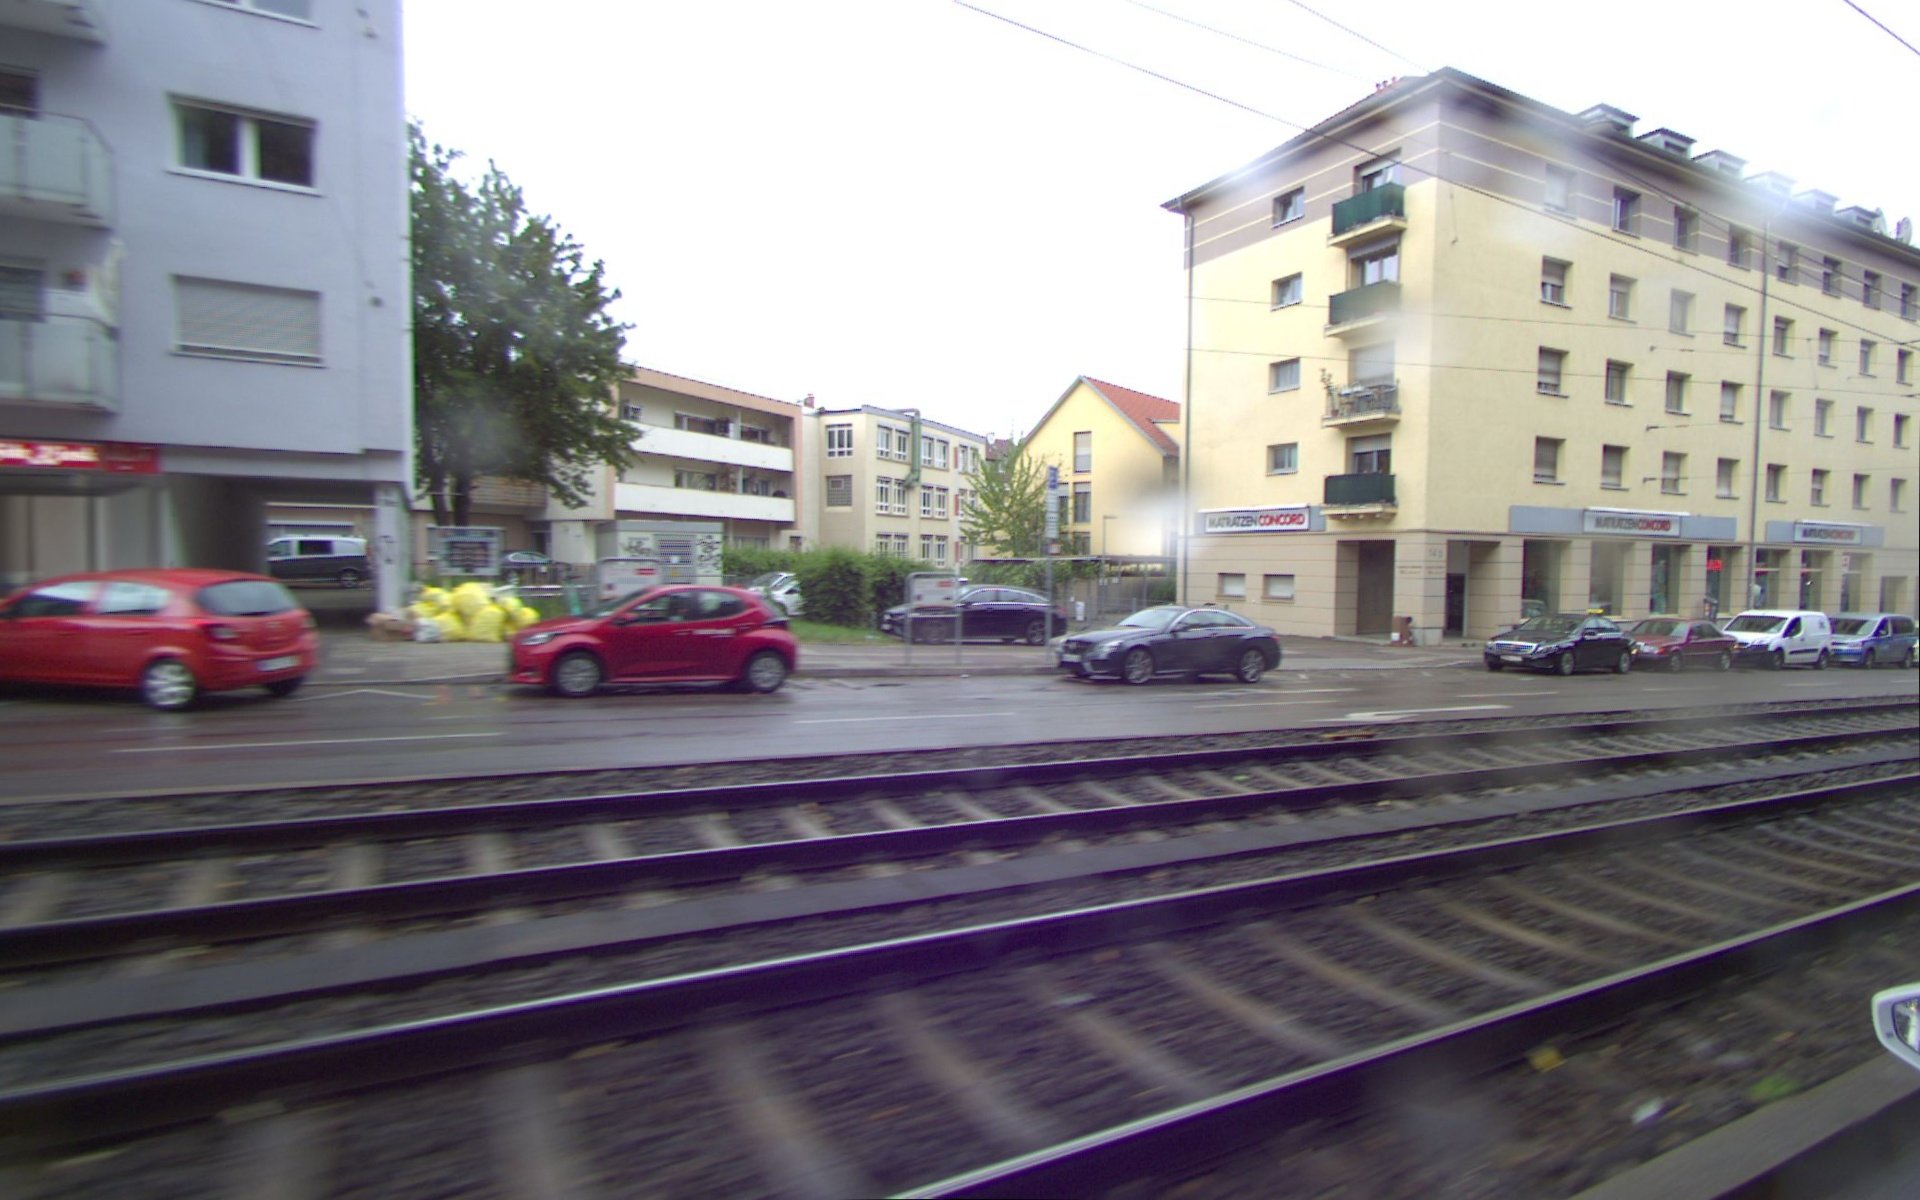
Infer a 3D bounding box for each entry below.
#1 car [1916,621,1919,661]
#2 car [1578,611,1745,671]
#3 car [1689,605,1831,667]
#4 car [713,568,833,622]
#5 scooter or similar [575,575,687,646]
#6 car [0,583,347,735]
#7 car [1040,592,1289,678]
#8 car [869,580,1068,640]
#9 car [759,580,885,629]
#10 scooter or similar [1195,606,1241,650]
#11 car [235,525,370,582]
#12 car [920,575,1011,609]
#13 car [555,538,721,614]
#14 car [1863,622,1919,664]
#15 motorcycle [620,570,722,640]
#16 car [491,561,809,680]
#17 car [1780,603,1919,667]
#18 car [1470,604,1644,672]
[{"bbox_3d":[39.015,1.648,38.726,4.527,1.519,1.805,2,2,-29],"label":"car"},{"bbox_3d":[19.556,1.144,27.966,4.773,1.451,1.843,2,2,-29],"label":"car"},{"bbox_3d":[24.685,1.106,30.971,4.405,1.740,1.859,2,0,-29],"label":"car"},{"bbox_3d":[-6.620,-0.167,35.584,3.850,1.654,1.663,3,1,-24],"label":"car"},{"bbox_3d":[-6.043,0.188,18.516,1.860,1.216,0.623,2,3,-9],"label":"scooter or similar"},{"bbox_3d":[-9.615,0.610,11.681,3.902,1.453,1.786,3,1,5],"label":"car"},{"bbox_3d":[3.844,0.651,18.659,4.569,1.414,1.671,2,0,-31],"label":"car"},{"bbox_3d":[0.204,0.249,24.291,4.413,1.321,1.867,1,1,-23],"label":"car"},{"bbox_3d":[-4.657,0.160,33.805,3.850,1.419,1.663,3,1,-24],"label":"car"},{"bbox_3d":[7.127,0.755,27.781,0.375,1.127,1.282,1,2,-35],"label":"scooter or similar"},{"bbox_3d":[-23.691,-1.652,36.349,4.003,1.888,1.706,0,2,-32],"label":"car"},{"bbox_3d":[0.261,-0.353,46.303,3.856,1.419,1.660,1,2,-29],"label":"car"},{"bbox_3d":[-8.438,-0.588,26.374,3.950,1.846,1.679,0,0,-28],"label":"car"},{"bbox_3d":[34.583,1.550,36.354,4.002,1.458,1.683,2,-3,-31],"label":"car"},{"bbox_3d":[-5.664,0.104,19.699,1.764,1.216,0.636,4,3,-30],"label":"motorcycle"},{"bbox_3d":[-4.335,0.307,14.188,4.025,1.471,1.646,2,0,-30],"label":"car"},{"bbox_3d":[30.090,1.181,33.838,5.395,1.930,1.984,2,2,-30],"label":"car"},{"bbox_3d":[15.054,0.950,25.224,4.941,1.528,1.839,2,0,-35],"label":"car"}]
